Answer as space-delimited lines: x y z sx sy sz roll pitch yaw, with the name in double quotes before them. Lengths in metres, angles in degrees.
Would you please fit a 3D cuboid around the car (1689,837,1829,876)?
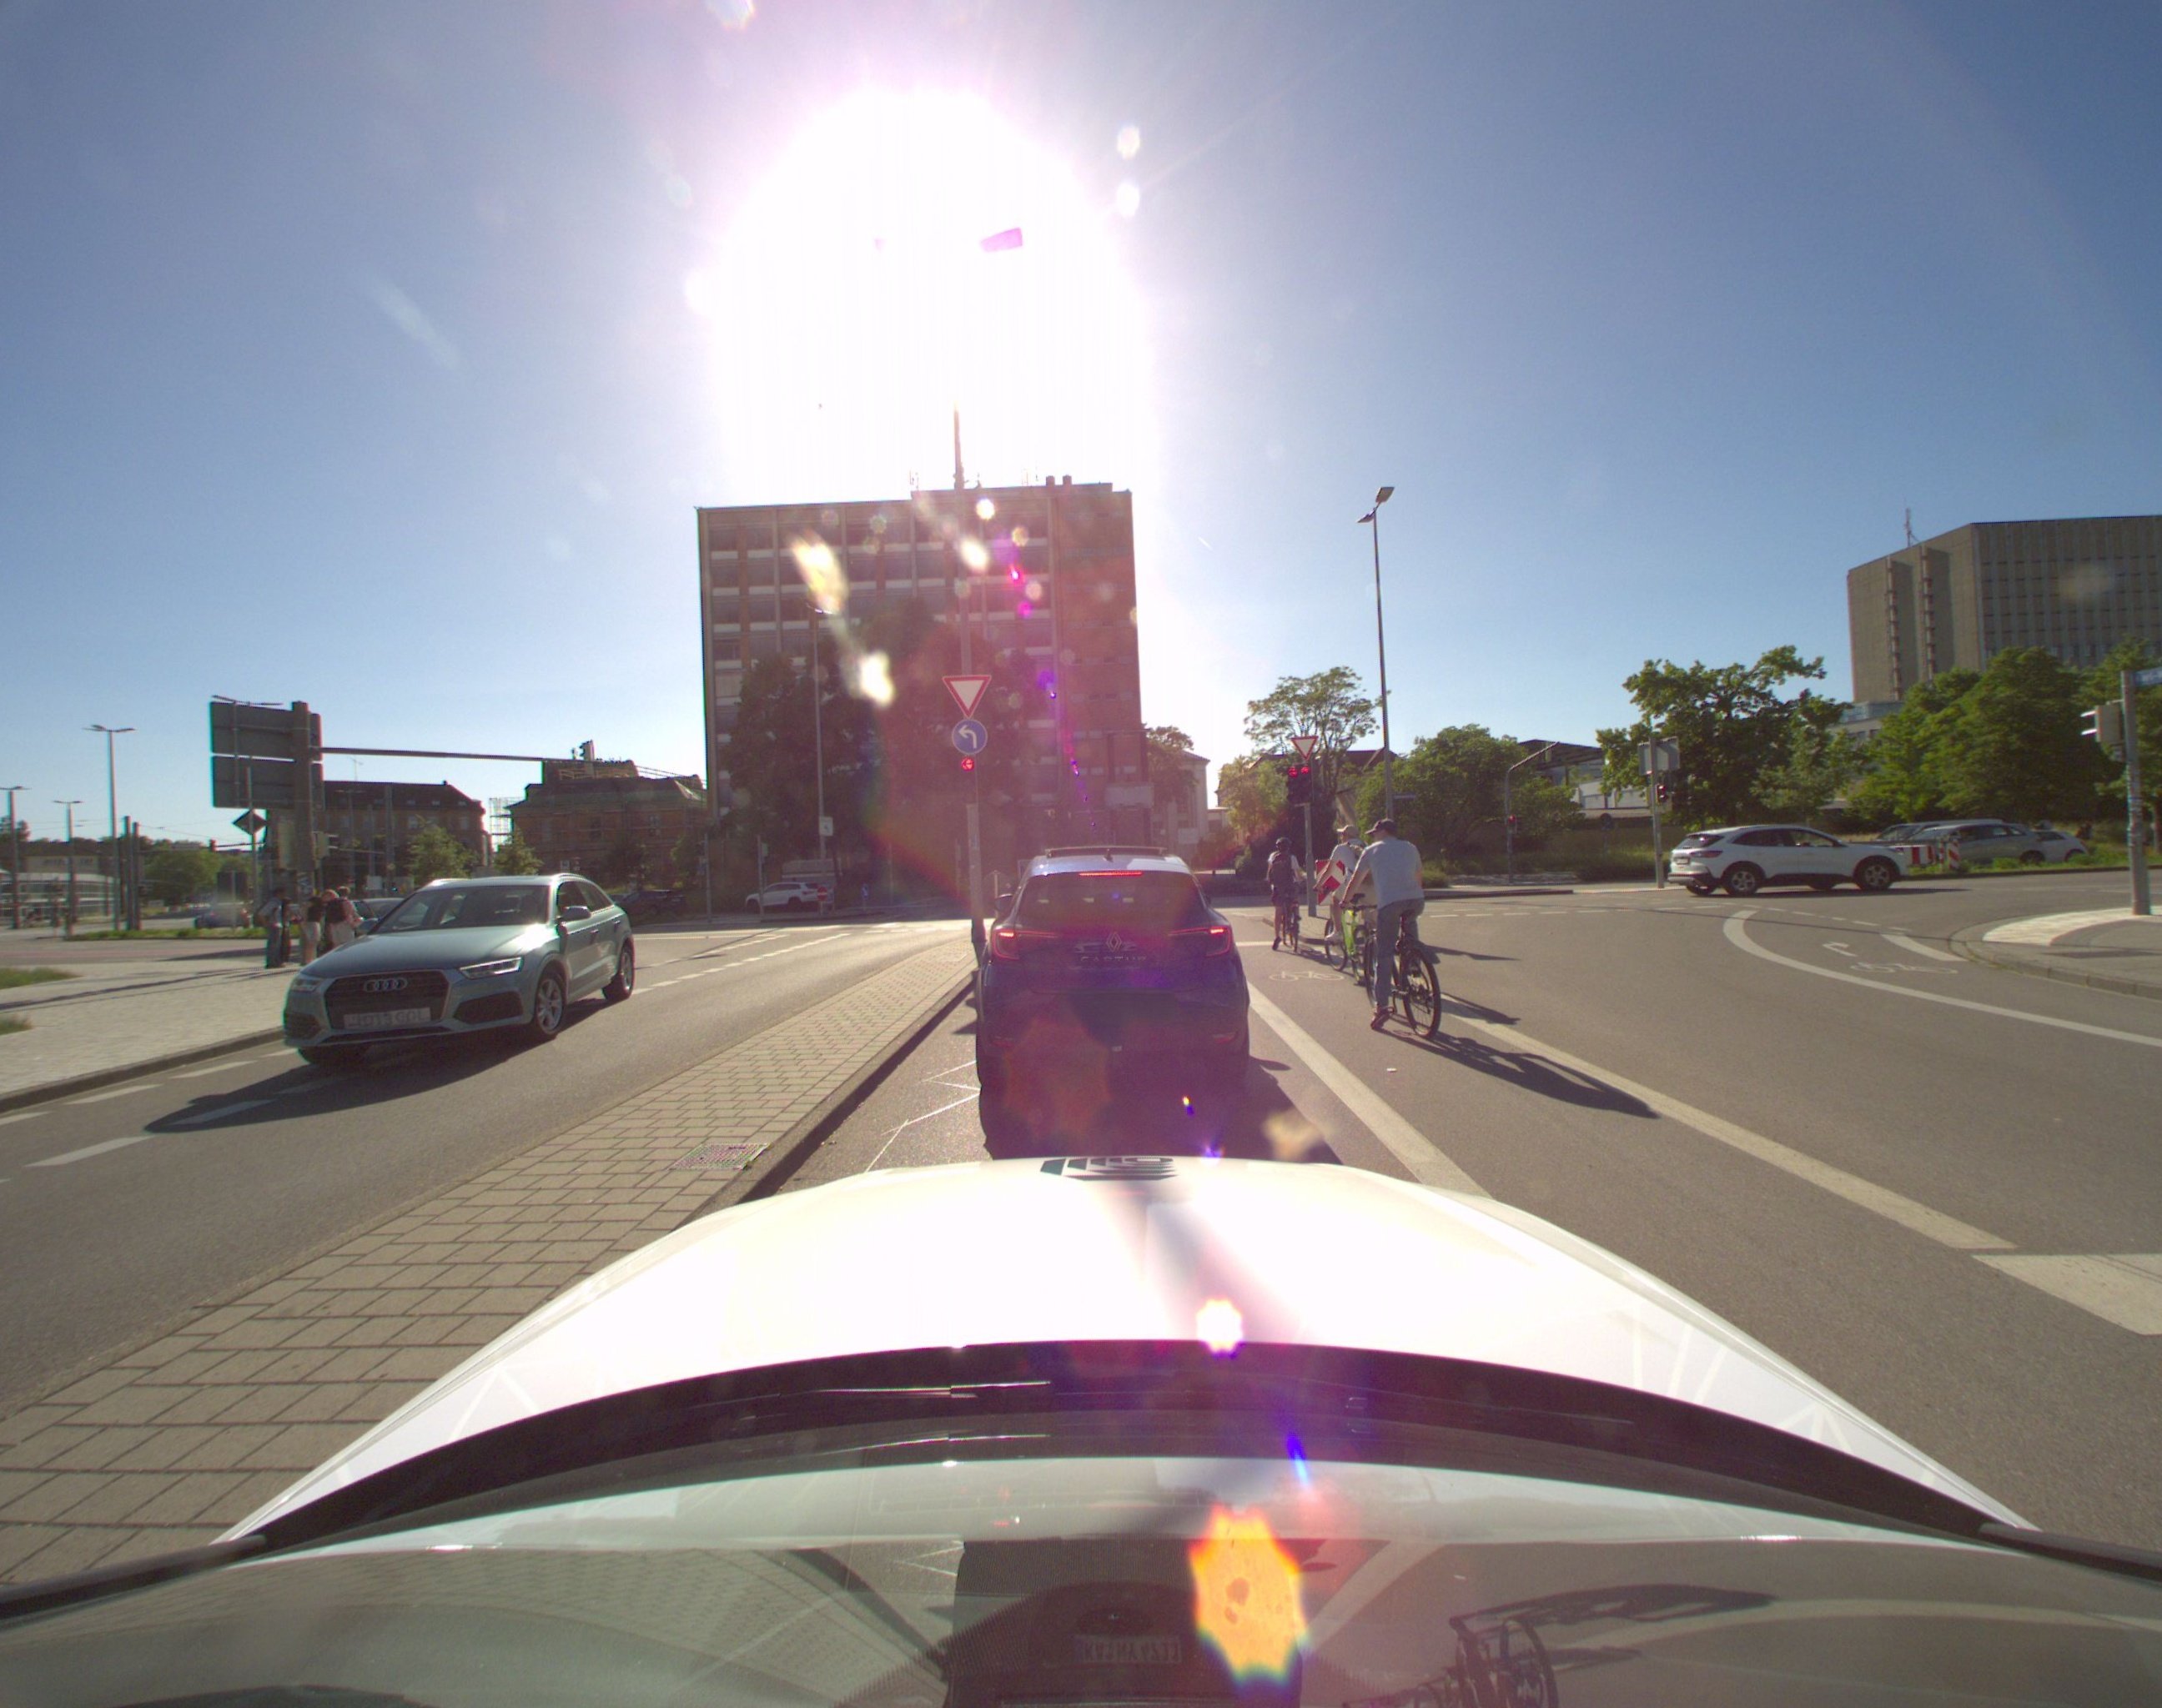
"car" 28.212 0.099 34.010 4.140 1.435 1.747 -2 -1 8

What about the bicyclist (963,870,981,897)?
"bicyclist" -5.895 1.597 44.055 0.741 1.441 0.593 -2 -1 -25

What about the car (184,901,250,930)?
"car" -55.070 3.927 51.898 4.331 1.632 1.855 -3 -1 29

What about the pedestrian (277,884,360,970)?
"pedestrian" -17.099 1.609 18.278 0.697 1.800 1.108 -5 -3 18

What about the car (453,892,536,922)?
"car" -31.496 2.824 43.739 3.803 1.435 1.752 -2 -1 21

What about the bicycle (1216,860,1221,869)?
"bicycle" 15.868 1.224 93.824 0.403 0.973 1.686 0 -1 6

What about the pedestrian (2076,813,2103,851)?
"pedestrian" 48.369 -1.050 39.063 0.559 1.778 0.528 -2 -1 5

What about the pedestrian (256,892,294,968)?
"pedestrian" -19.224 1.791 19.433 0.600 1.729 0.572 -2 -1 -45

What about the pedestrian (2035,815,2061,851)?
"pedestrian" 47.856 -1.030 40.291 0.559 1.778 0.528 -2 -1 5

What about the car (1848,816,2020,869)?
"car" 35.246 -0.442 33.763 4.856 2.107 2.002 0 -1 4

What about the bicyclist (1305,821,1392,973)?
"bicyclist" 3.210 0.494 9.851 0.644 1.739 1.065 0 -1 -4

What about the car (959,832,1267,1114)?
"car" 0.198 0.708 6.804 1.798 1.632 3.999 -1 0 0

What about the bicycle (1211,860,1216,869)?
"bicycle" 15.251 1.229 93.882 0.403 0.973 1.686 0 -1 6

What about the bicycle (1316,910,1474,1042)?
"bicycle" 2.715 1.015 7.297 0.737 0.896 1.980 0 -1 3

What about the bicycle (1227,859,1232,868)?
"bicycle" 17.181 1.073 94.175 0.403 0.973 1.686 0 -1 6

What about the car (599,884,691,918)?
"car" -23.119 2.479 43.188 4.336 1.632 1.853 -2 -1 20

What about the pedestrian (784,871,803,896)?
"pedestrian" -18.735 1.923 53.115 0.853 1.571 0.562 -5 -1 17

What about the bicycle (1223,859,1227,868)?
"bicycle" 16.647 1.077 94.174 0.403 0.973 1.686 0 -1 6

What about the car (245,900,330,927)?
"car" -45.990 3.449 47.179 4.840 1.388 1.855 -3 -1 24

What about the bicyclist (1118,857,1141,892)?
"bicyclist" 2.632 1.100 43.934 1.094 1.867 0.655 -3 0 12

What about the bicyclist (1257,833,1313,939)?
"bicyclist" 3.233 0.500 12.989 0.722 1.629 0.970 0 -1 6

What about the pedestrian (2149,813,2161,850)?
"pedestrian" 52.372 -1.076 39.426 0.559 1.778 0.528 -2 -1 5

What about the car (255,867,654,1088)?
"car" -6.042 1.001 8.582 1.791 1.581 4.234 -4 0 -16

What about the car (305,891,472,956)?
"car" -19.966 2.012 23.456 4.724 1.505 1.830 -4 0 26

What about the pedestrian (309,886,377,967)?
"pedestrian" -16.373 1.591 18.083 0.793 1.690 0.785 -4 -3 -13

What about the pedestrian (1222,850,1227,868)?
"pedestrian" 16.207 0.602 92.185 0.473 2.014 0.469 -2 -1 8

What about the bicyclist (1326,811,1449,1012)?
"bicyclist" 2.708 0.484 7.297 0.748 1.668 1.017 0 -1 3

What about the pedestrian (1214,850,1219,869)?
"pedestrian" 15.099 0.600 90.892 0.473 2.014 0.524 -2 -1 8

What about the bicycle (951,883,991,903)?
"bicycle" -5.933 2.113 44.028 2.016 0.964 0.593 -2 -1 -25

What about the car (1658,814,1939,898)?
"car" 16.879 0.091 19.420 4.658 1.619 1.849 -4 -3 10

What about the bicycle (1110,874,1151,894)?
"bicycle" 2.692 1.620 43.926 2.067 0.930 0.698 -3 1 13

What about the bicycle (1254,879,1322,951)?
"bicycle" 3.242 0.927 12.935 0.735 0.995 2.177 0 -1 6

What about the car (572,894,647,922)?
"car" -27.583 3.154 47.643 3.804 1.435 1.751 -3 -2 19

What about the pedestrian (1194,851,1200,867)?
"pedestrian" 13.469 0.594 94.797 0.621 1.856 0.564 -2 -1 4

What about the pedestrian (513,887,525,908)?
"pedestrian" -44.350 3.452 64.286 0.541 1.615 0.653 -3 -1 41

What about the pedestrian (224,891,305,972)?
"pedestrian" -18.178 1.703 18.153 0.900 1.690 0.839 -4 -3 -3

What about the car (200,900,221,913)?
"car" -142.979 8.565 133.771 3.948 2.013 2.013 -3 -1 38

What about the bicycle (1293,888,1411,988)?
"bicycle" 3.209 0.955 9.853 0.657 1.003 1.967 0 -1 -4

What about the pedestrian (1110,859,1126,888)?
"pedestrian" 2.127 1.112 46.527 0.732 1.603 0.601 -3 -1 14

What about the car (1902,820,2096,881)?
"car" 34.294 -0.111 30.552 4.754 2.161 2.003 0 -1 5

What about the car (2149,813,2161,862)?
"car" 37.021 -0.627 25.349 4.713 1.584 2.002 -2 -1 3

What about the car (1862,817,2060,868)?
"car" 28.135 -0.340 26.168 4.025 1.408 1.872 -2 -1 8

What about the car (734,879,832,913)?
"car" -16.174 2.288 44.184 4.785 1.632 1.853 -2 -1 17
